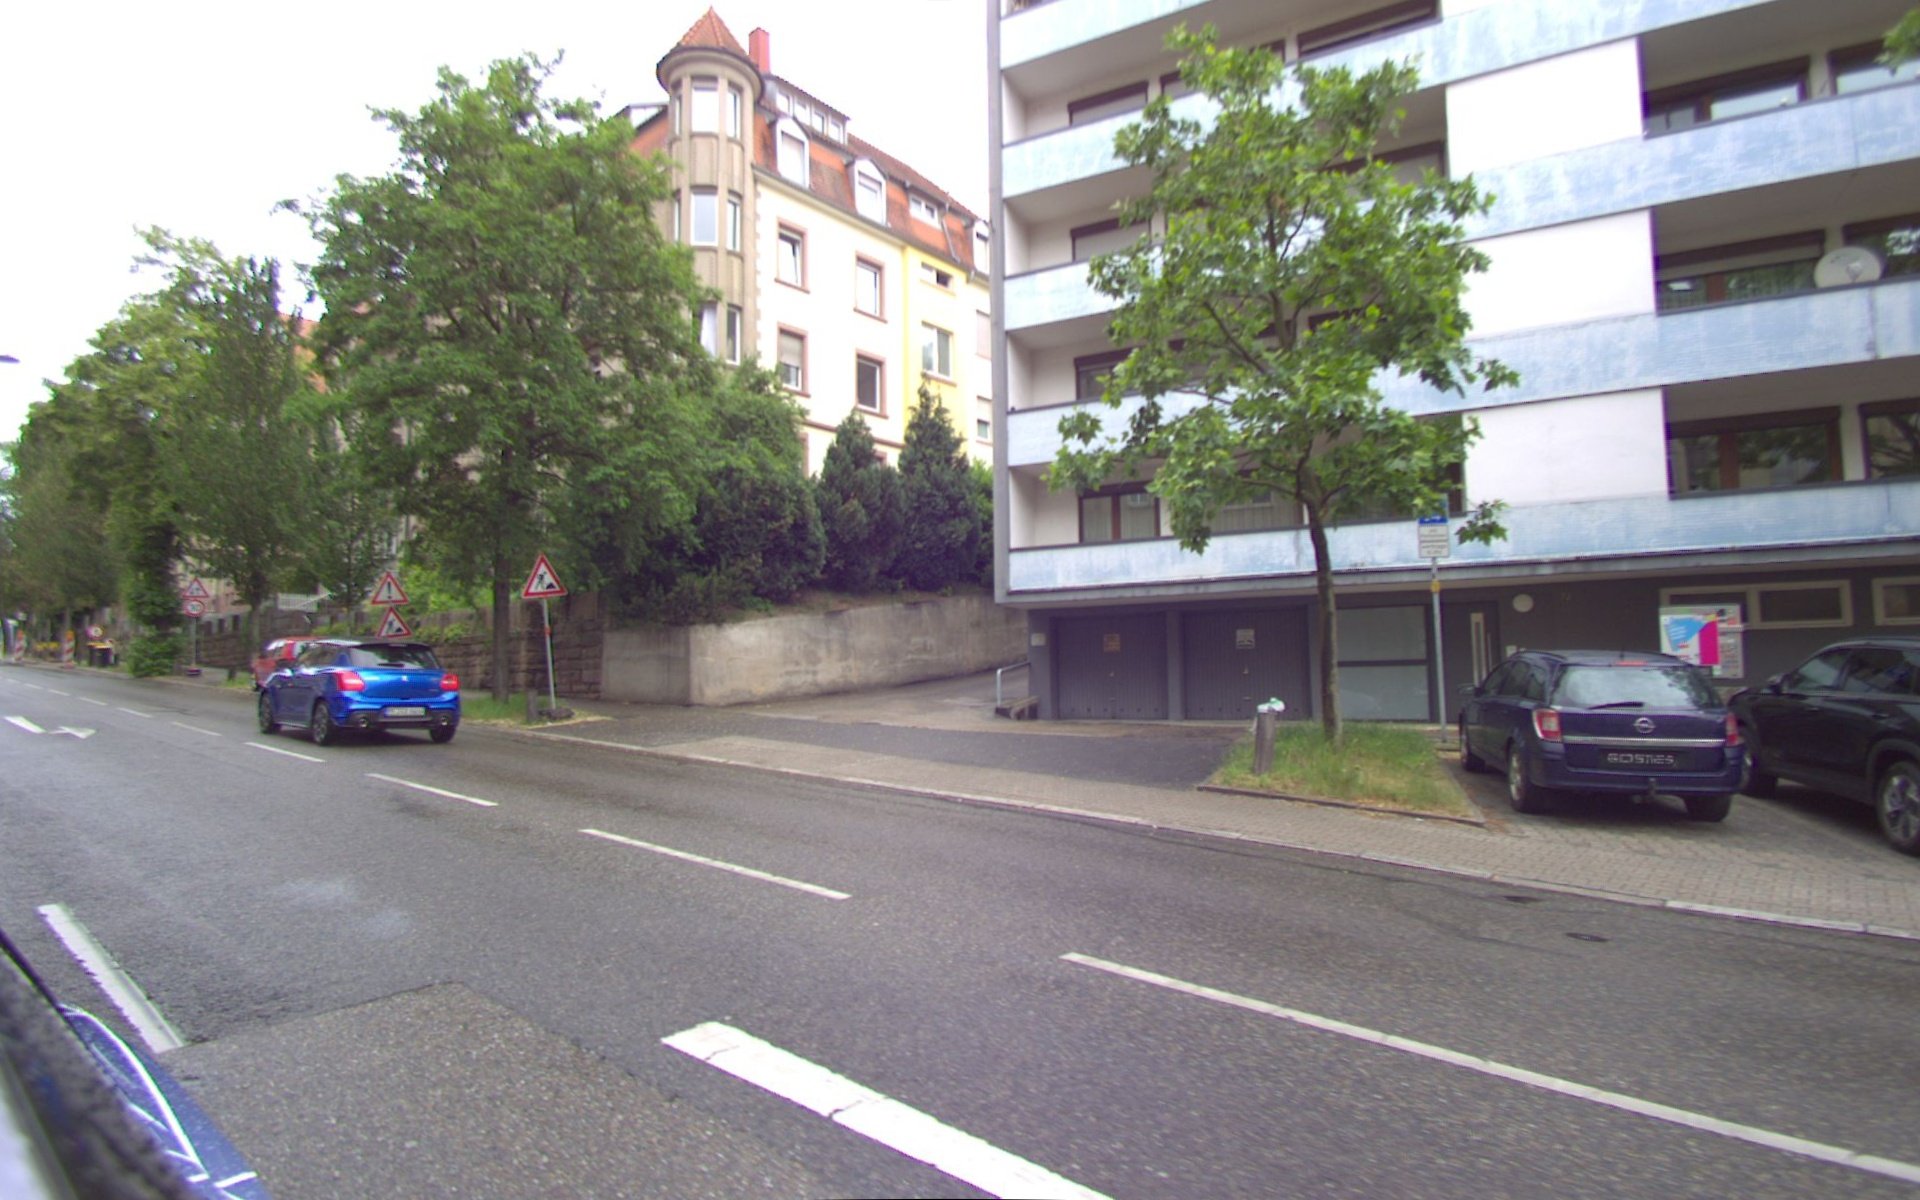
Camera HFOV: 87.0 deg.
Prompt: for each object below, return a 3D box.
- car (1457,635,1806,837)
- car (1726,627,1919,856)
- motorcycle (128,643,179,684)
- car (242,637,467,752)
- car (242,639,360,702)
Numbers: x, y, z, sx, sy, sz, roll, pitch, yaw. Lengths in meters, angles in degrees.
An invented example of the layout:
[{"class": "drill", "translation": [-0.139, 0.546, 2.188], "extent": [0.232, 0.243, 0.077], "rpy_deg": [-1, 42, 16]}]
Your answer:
[{"class": "car", "translation": [6.520, 1.165, 10.458], "extent": [1.928, 1.586, 4.342], "rpy_deg": [0, -2, 19]}, {"class": "car", "translation": [8.380, 1.079, 8.454], "extent": [1.841, 1.685, 4.351], "rpy_deg": [0, -2, 19]}, {"class": "motorcycle", "translation": [-29.413, 2.292, 36.887], "extent": [3.058, 1.425, 0.792], "rpy_deg": [-2, -1, 39]}, {"class": "car", "translation": [-8.968, 1.318, 14.883], "extent": [3.740, 1.462, 1.697], "rpy_deg": [-2, -5, 41]}, {"class": "car", "translation": [-17.208, 1.775, 26.348], "extent": [4.063, 1.462, 1.596], "rpy_deg": [-2, -2, 42]}]
